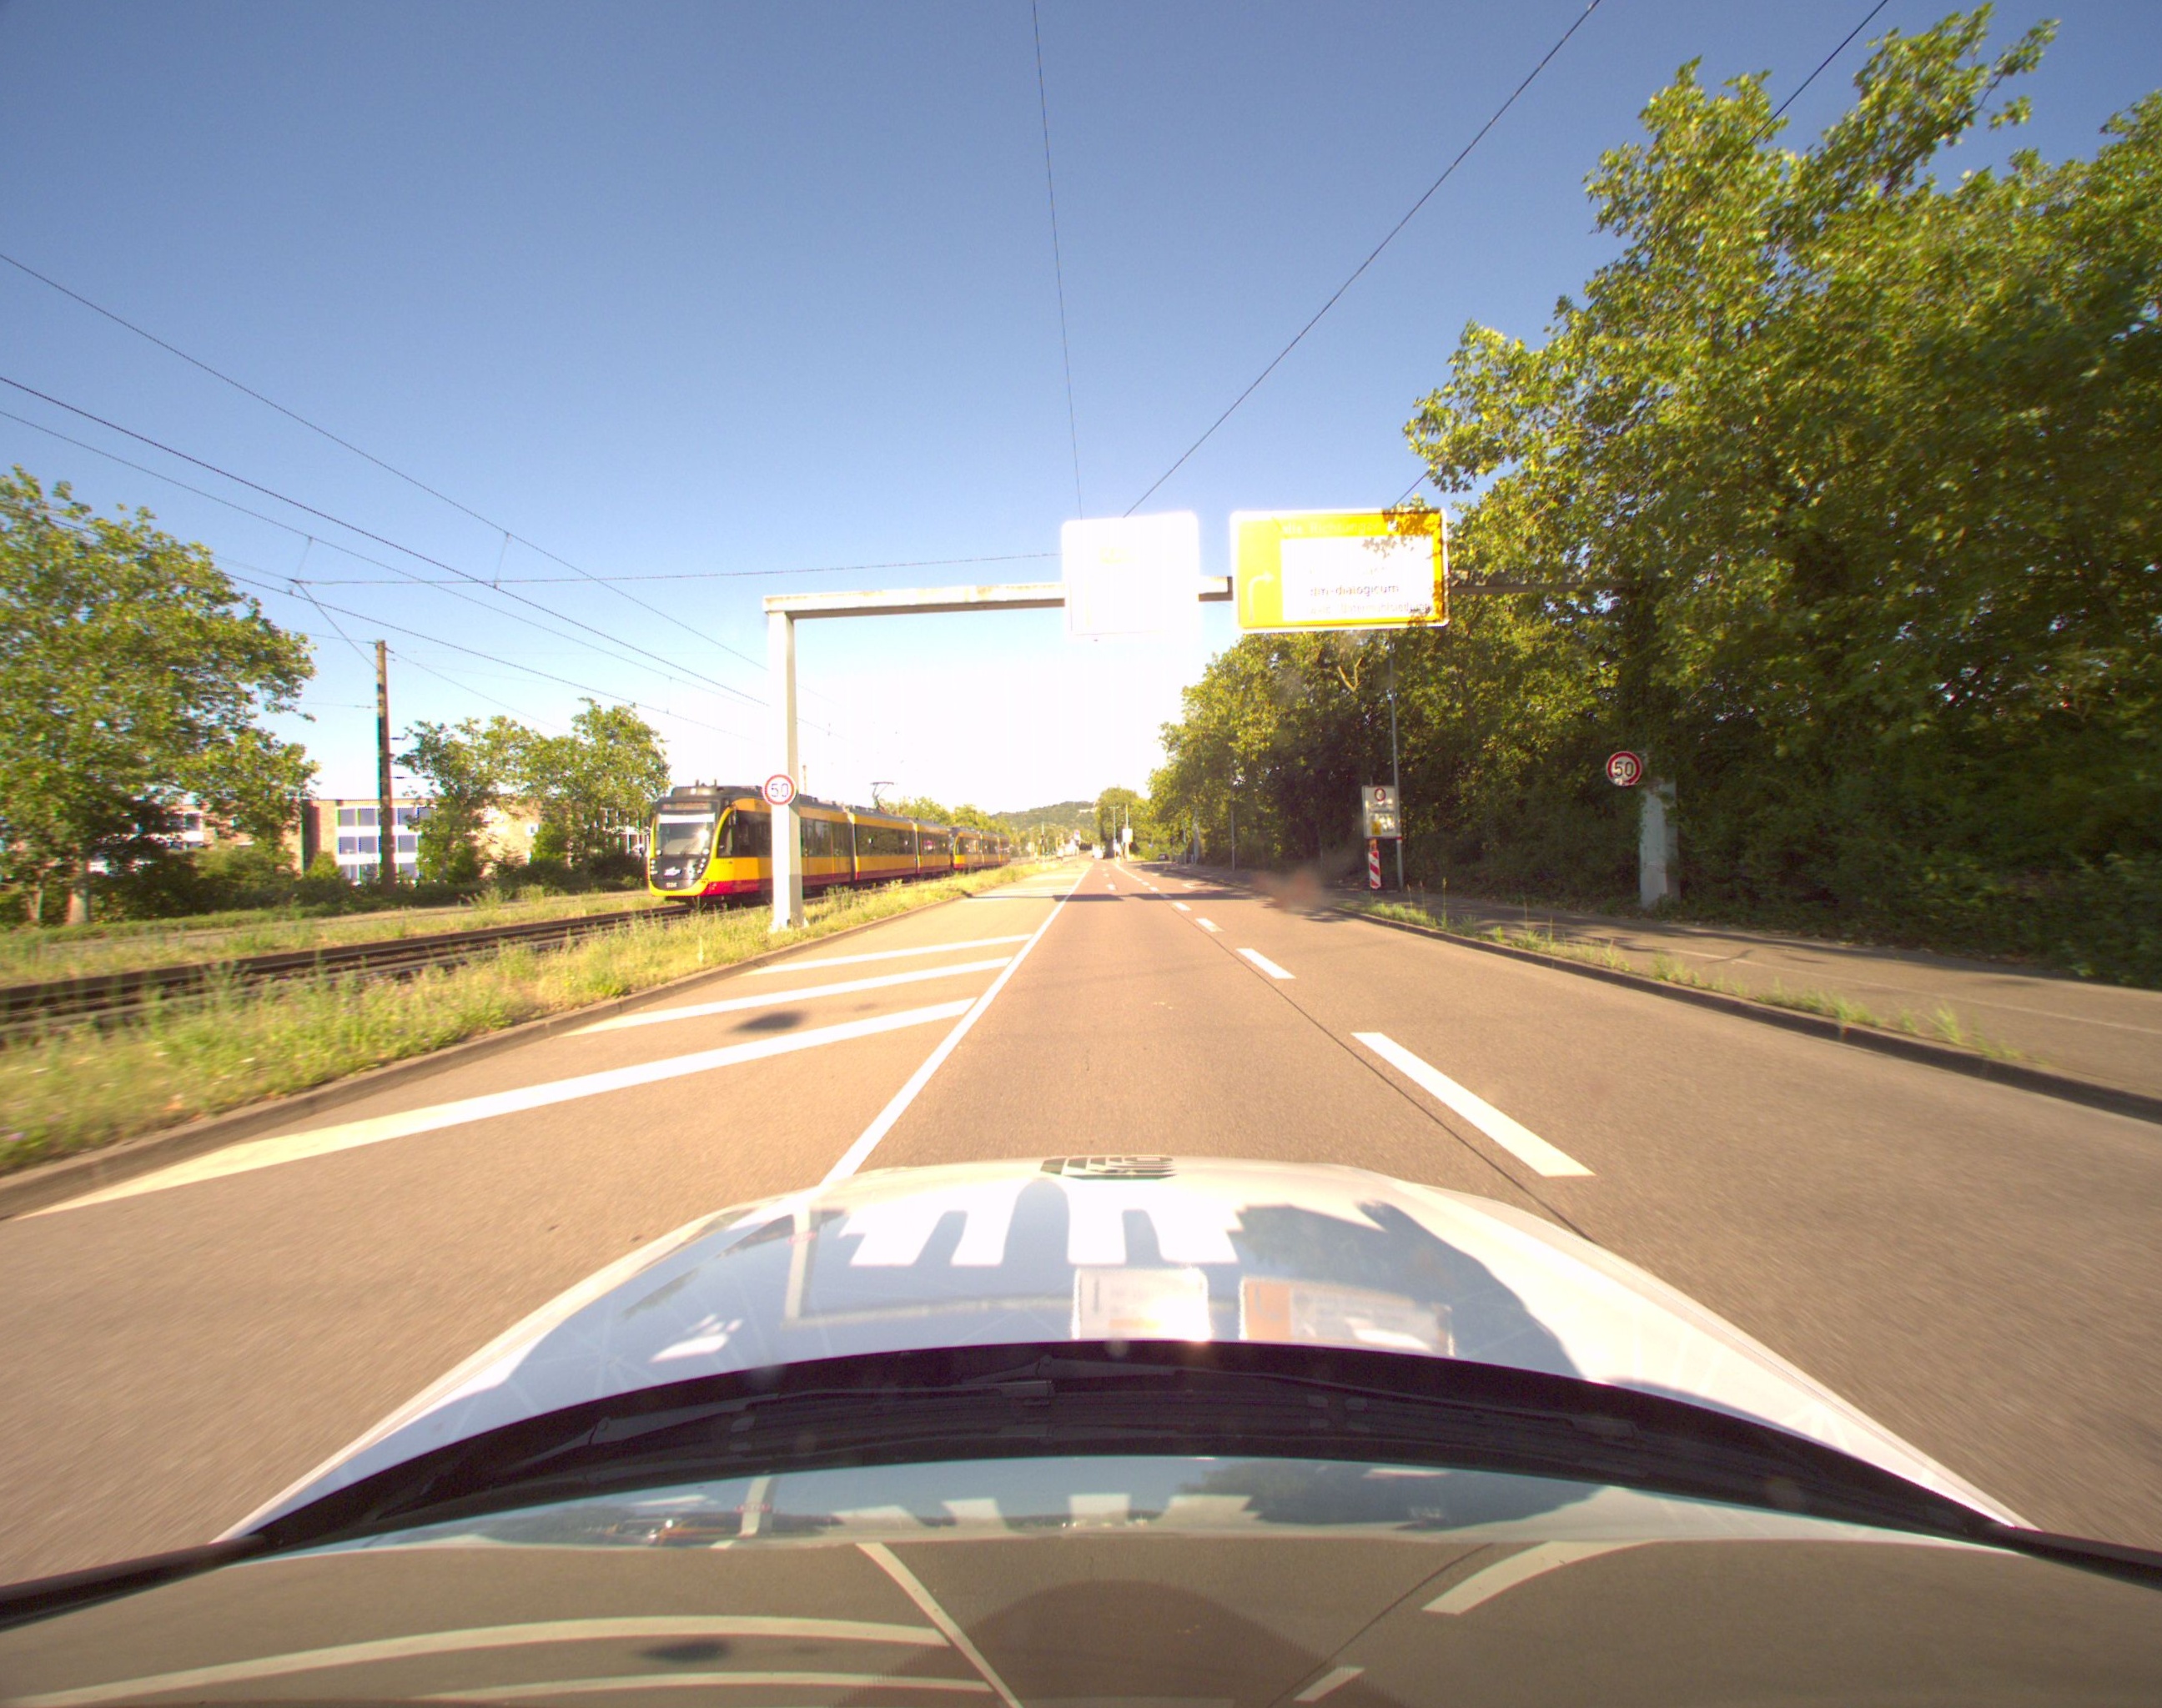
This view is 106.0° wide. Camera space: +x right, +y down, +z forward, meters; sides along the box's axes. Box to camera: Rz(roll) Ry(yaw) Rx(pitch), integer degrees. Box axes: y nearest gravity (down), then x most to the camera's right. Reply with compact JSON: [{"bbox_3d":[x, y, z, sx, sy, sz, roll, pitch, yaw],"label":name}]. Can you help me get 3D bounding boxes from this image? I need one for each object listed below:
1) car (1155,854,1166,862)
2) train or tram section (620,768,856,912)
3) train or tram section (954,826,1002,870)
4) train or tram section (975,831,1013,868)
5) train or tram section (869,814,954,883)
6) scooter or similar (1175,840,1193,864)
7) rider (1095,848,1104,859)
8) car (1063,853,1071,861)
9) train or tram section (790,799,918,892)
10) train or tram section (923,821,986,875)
[{"bbox_3d":[16.017,0.856,164.924,2.075,1.566,3.963,0,0,7],"label":"car"},{"bbox_3d":[-11.020,-0.365,28.276,2.794,3.902,12.333,0,0,1],"label":"train or tram section"},{"bbox_3d":[-9.810,-0.489,79.224,2.814,3.950,12.656,0,0,1],"label":"train or tram section"},{"bbox_3d":[-9.555,-0.454,90.955,2.814,3.950,10.837,0,0,1],"label":"train or tram section"},{"bbox_3d":[-10.603,-0.298,52.381,2.794,3.902,11.814,0,0,1],"label":"train or tram section"},{"bbox_3d":[11.960,-0.220,94.688,1.675,2.715,4.871,-1,0,2],"label":"scooter or similar"},{"bbox_3d":[4.675,-0.118,209.090,2.098,2.647,0.738,-1,0,6],"label":"rider"},{"bbox_3d":[-3.911,0.809,228.922,1.986,2.014,4.001,0,0,2],"label":"car"},{"bbox_3d":[-10.809,-0.336,40.462,2.794,3.902,11.992,0,0,1],"label":"train or tram section"},{"bbox_3d":[-10.106,-0.447,66.541,2.814,3.950,12.710,0,0,1],"label":"train or tram section"}]
